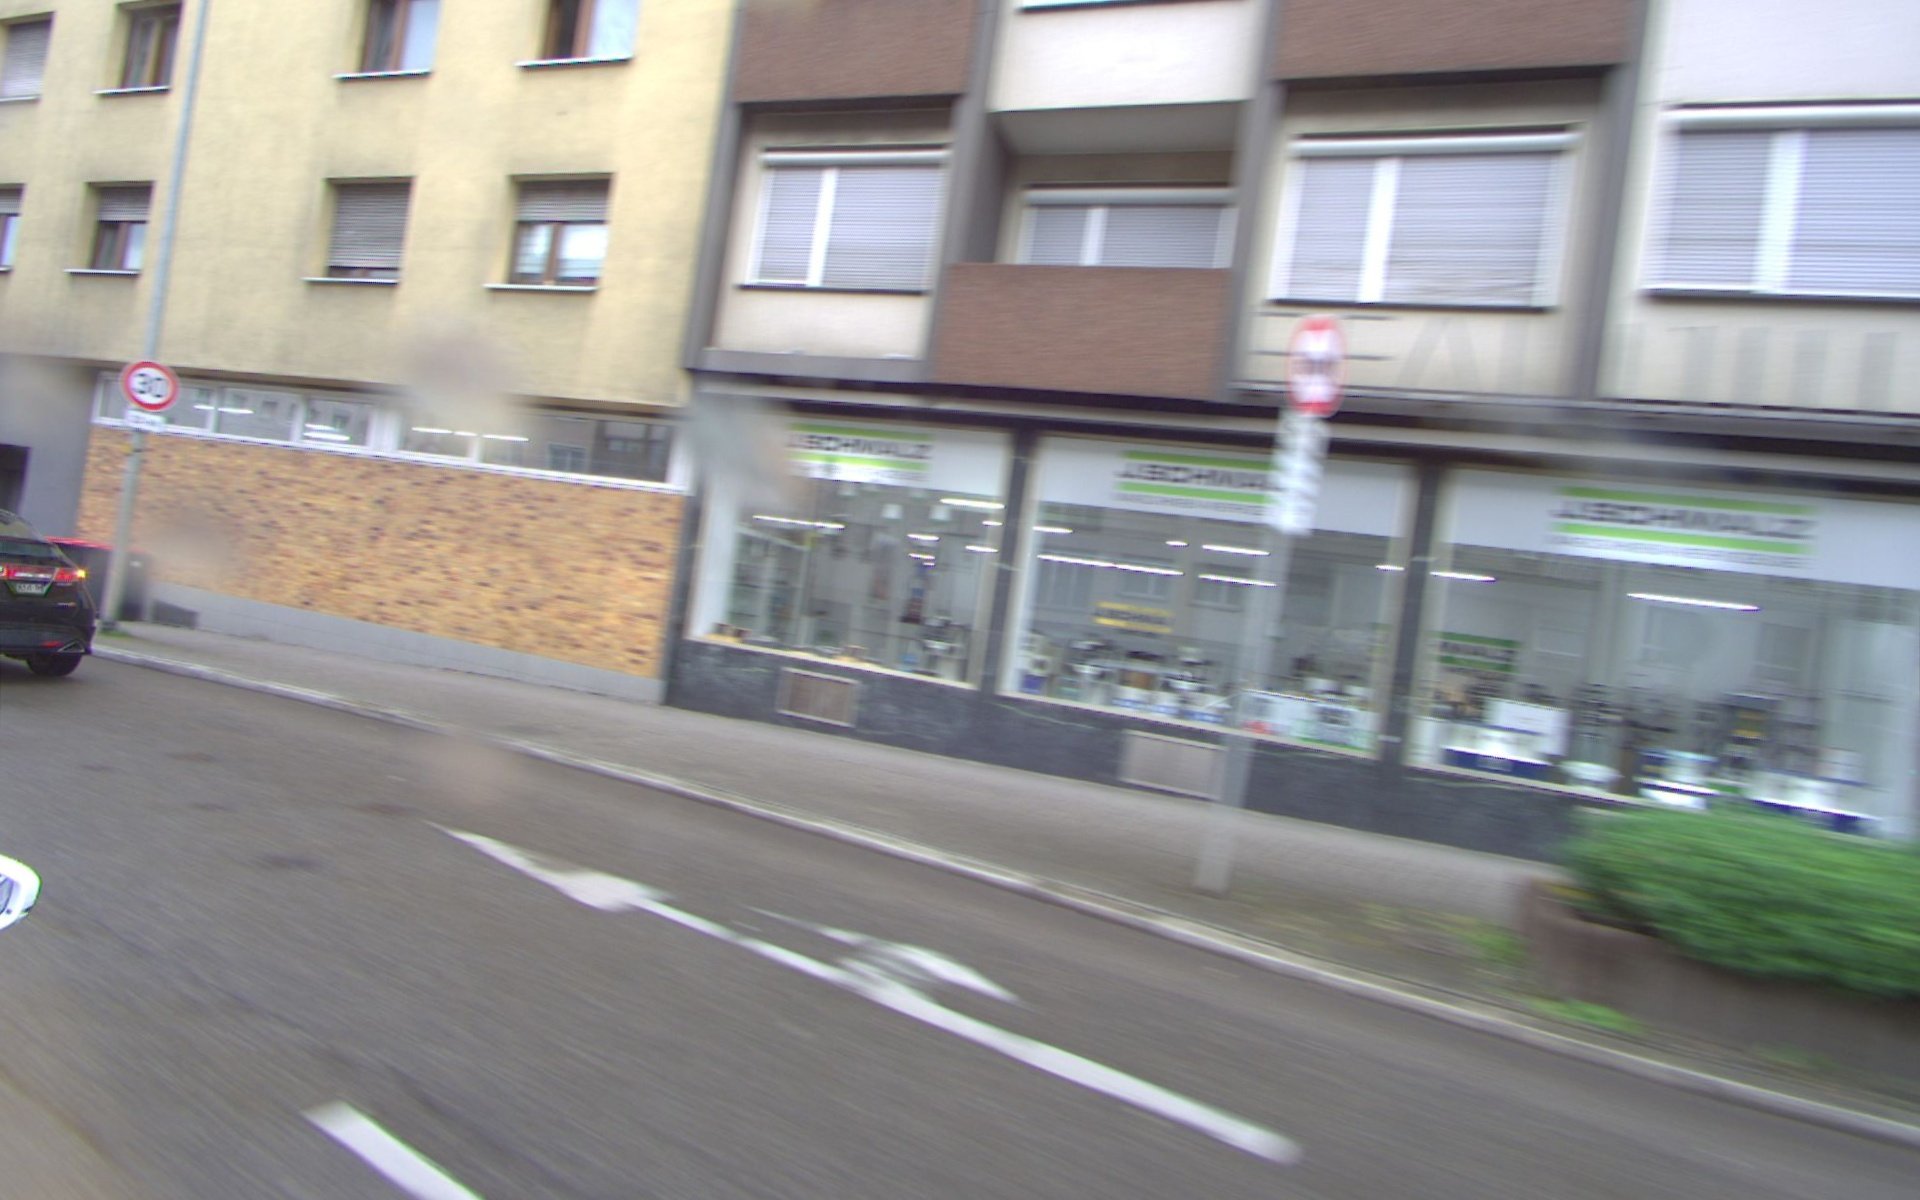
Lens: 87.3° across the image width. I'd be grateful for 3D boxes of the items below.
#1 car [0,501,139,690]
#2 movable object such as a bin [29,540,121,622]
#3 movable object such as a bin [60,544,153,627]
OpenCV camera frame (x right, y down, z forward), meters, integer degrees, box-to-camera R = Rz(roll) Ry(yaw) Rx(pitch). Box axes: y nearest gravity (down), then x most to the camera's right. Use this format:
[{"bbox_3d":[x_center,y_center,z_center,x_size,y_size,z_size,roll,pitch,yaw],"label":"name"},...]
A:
[{"bbox_3d":[-9.502,-0.244,8.855,3.983,1.514,1.790,7,-2,24],"label":"car"},{"bbox_3d":[-13.133,-0.272,14.942,0.656,1.089,0.684,7,-2,18],"label":"movable object such as a bin"},{"bbox_3d":[-12.494,-0.208,14.736,0.656,1.089,0.684,7,-2,18],"label":"movable object such as a bin"}]
